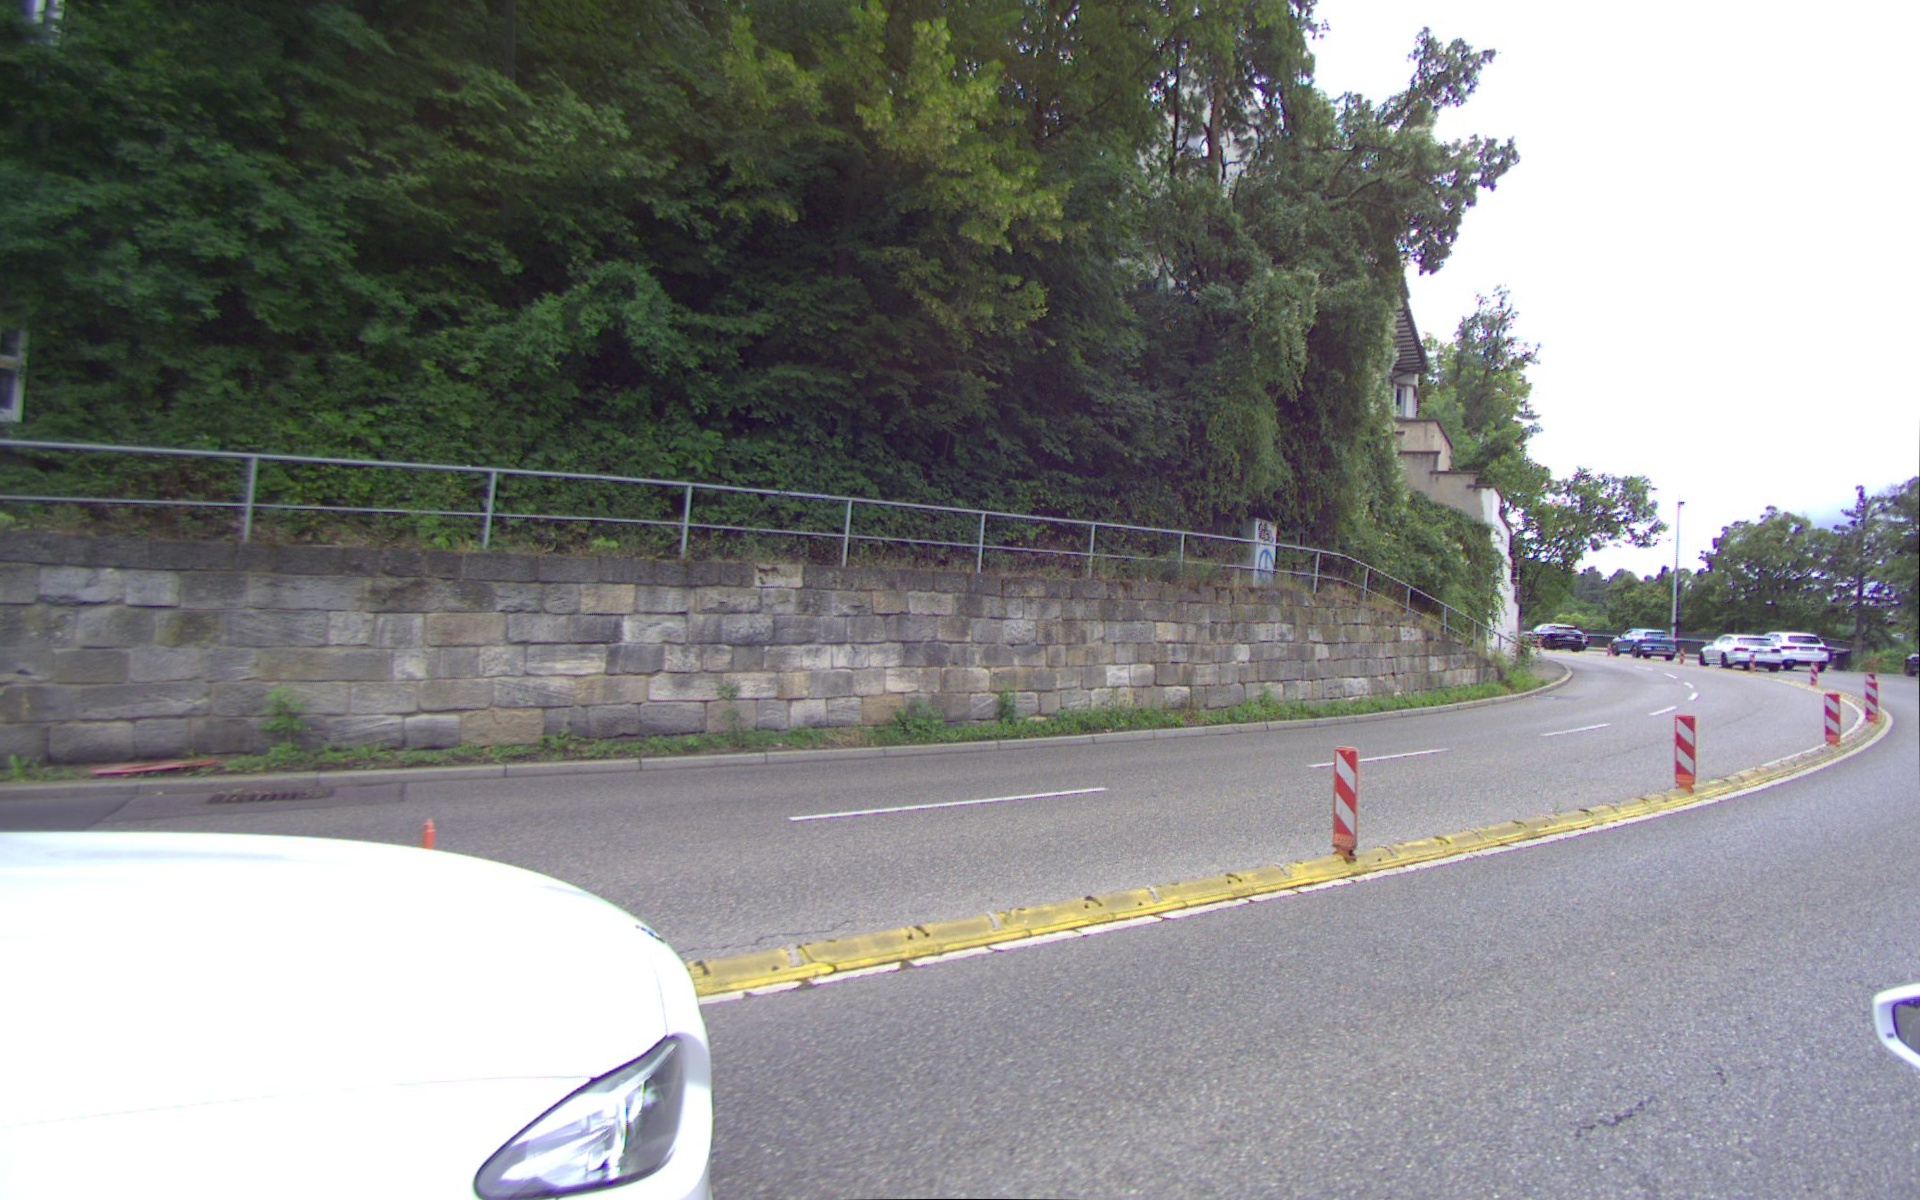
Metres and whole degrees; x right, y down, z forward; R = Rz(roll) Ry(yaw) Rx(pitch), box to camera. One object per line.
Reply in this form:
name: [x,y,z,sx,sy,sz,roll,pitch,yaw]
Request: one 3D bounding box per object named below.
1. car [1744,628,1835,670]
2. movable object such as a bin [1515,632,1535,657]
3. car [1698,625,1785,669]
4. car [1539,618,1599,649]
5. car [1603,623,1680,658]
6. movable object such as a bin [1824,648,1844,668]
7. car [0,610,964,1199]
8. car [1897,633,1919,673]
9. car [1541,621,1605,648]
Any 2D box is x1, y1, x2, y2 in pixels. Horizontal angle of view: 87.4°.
car: [36.768,2.120,44.637,1.962,1.607,3.998,4,1,23]
movable object such as a bin: [23.058,1.813,40.985,0.597,0.961,0.556,4,1,24]
car: [32.927,1.935,42.430,1.876,1.595,3.998,4,1,24]
car: [38.803,2.119,64.094,1.784,1.712,4.002,4,1,9]
car: [36.168,2.115,53.395,1.960,1.561,4.012,4,1,13]
movable object such as a bin: [42.307,2.793,48.620,0.511,0.892,0.532,4,1,14]
car: [-2.554,0.762,1.162,4.824,1.486,1.838,3,1,-31]
car: [37.279,2.071,37.861,1.634,1.507,4.032,3,0,25]
car: [41.825,2.359,68.620,1.672,1.545,3.524,4,1,-15]
